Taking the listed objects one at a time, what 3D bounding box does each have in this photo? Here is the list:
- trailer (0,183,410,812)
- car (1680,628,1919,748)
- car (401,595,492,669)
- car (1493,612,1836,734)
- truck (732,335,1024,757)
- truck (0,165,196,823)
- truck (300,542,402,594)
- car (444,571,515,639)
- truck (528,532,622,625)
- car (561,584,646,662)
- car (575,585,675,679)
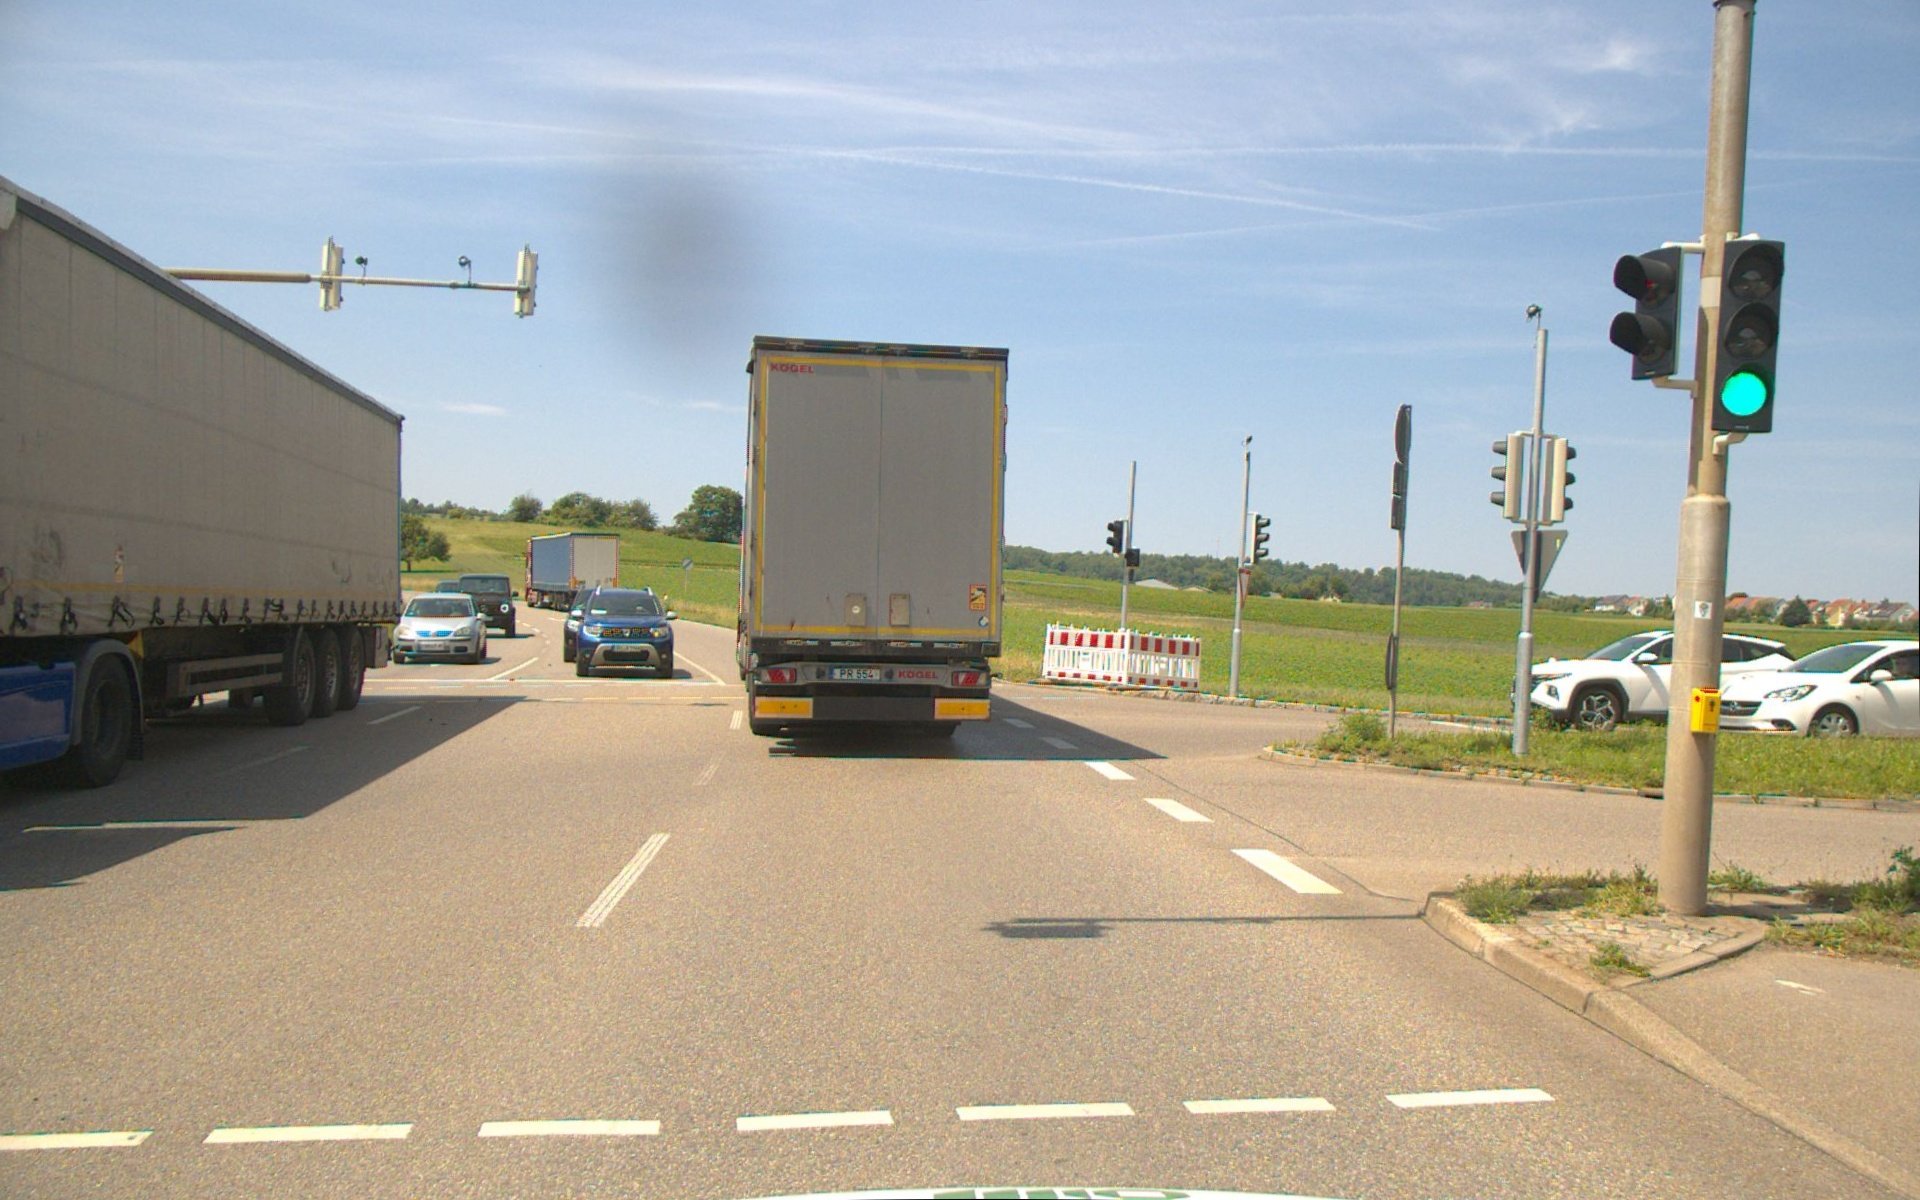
[{"bbox_3d":[-8.272,-0.728,17.315,2.519,4.100,13.566,1,0,-9],"label":"trailer"},{"bbox_3d":[11.879,1.174,21.928,3.885,1.444,1.825,2,-2,-8],"label":"car"},{"bbox_3d":[-11.172,0.664,36.169,1.742,1.522,3.983,0,0,-15],"label":"car"},{"bbox_3d":[10.998,1.137,26.028,4.534,1.635,1.997,3,-2,-4],"label":"car"},{"bbox_3d":[-1.422,-0.488,20.720,2.755,4.015,9.573,1,0,-8],"label":"truck"},{"bbox_3d":[-7.284,-0.669,10.476,2.518,4.100,6.549,1,0,-7],"label":"truck"},{"bbox_3d":[-53.415,-2.738,144.732,3.619,4.202,12.890,4,-2,-43],"label":"truck"},{"bbox_3d":[-15.536,0.156,53.362,1.964,2.041,5.137,2,0,-18],"label":"car"},{"bbox_3d":[-21.684,-1.145,92.294,2.918,4.664,16.215,1,0,-21],"label":"truck"},{"bbox_3d":[-8.140,0.512,38.001,1.739,1.687,3.990,1,0,-10],"label":"car"},{"bbox_3d":[-6.399,0.586,31.792,1.739,1.687,3.989,1,0,-11],"label":"car"}]
